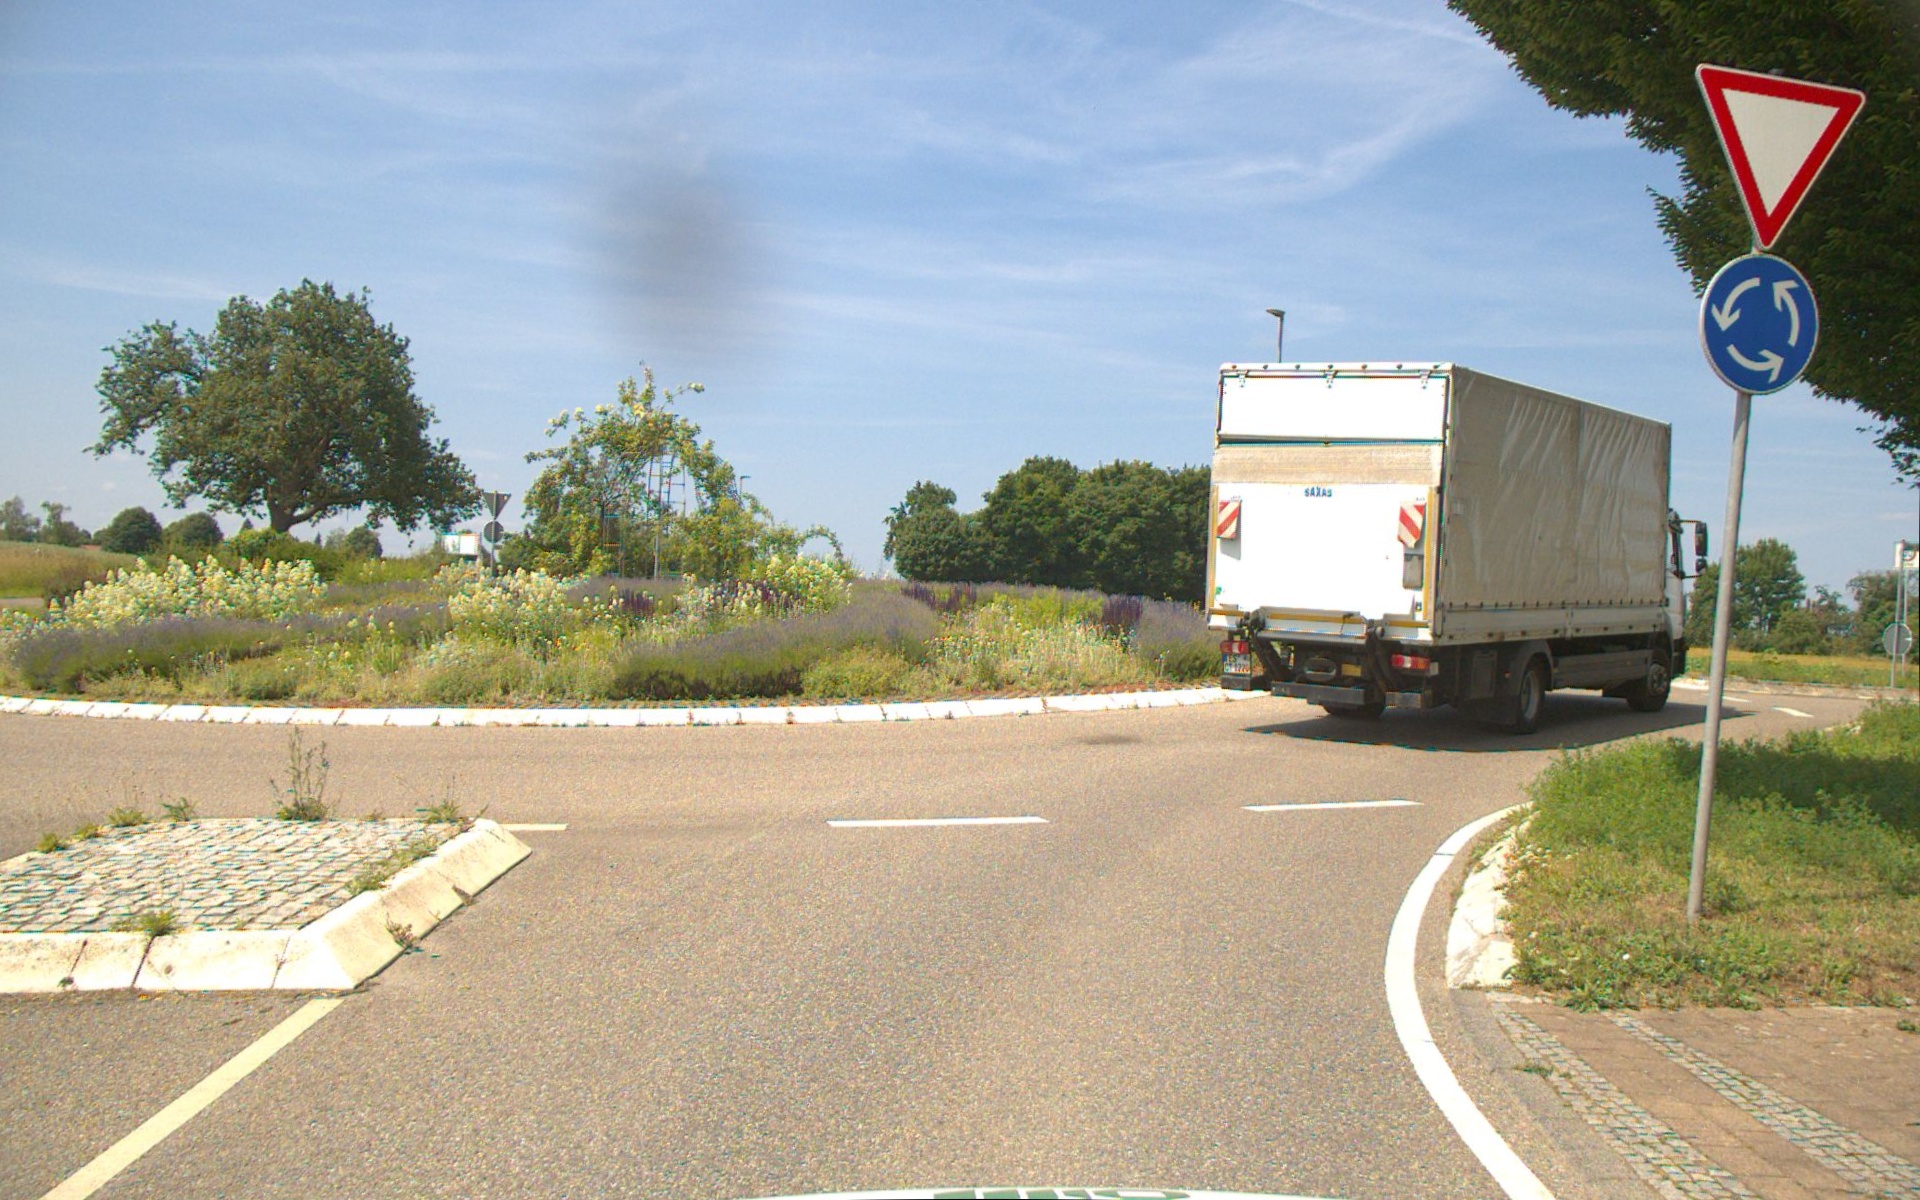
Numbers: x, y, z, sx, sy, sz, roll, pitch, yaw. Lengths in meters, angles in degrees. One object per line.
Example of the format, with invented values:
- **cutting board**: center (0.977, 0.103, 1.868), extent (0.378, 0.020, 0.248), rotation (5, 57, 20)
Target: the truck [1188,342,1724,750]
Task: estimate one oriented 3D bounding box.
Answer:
- **truck**: center (6.342, -0.553, 19.668), extent (2.724, 3.734, 9.337), rotation (3, 2, 39)
